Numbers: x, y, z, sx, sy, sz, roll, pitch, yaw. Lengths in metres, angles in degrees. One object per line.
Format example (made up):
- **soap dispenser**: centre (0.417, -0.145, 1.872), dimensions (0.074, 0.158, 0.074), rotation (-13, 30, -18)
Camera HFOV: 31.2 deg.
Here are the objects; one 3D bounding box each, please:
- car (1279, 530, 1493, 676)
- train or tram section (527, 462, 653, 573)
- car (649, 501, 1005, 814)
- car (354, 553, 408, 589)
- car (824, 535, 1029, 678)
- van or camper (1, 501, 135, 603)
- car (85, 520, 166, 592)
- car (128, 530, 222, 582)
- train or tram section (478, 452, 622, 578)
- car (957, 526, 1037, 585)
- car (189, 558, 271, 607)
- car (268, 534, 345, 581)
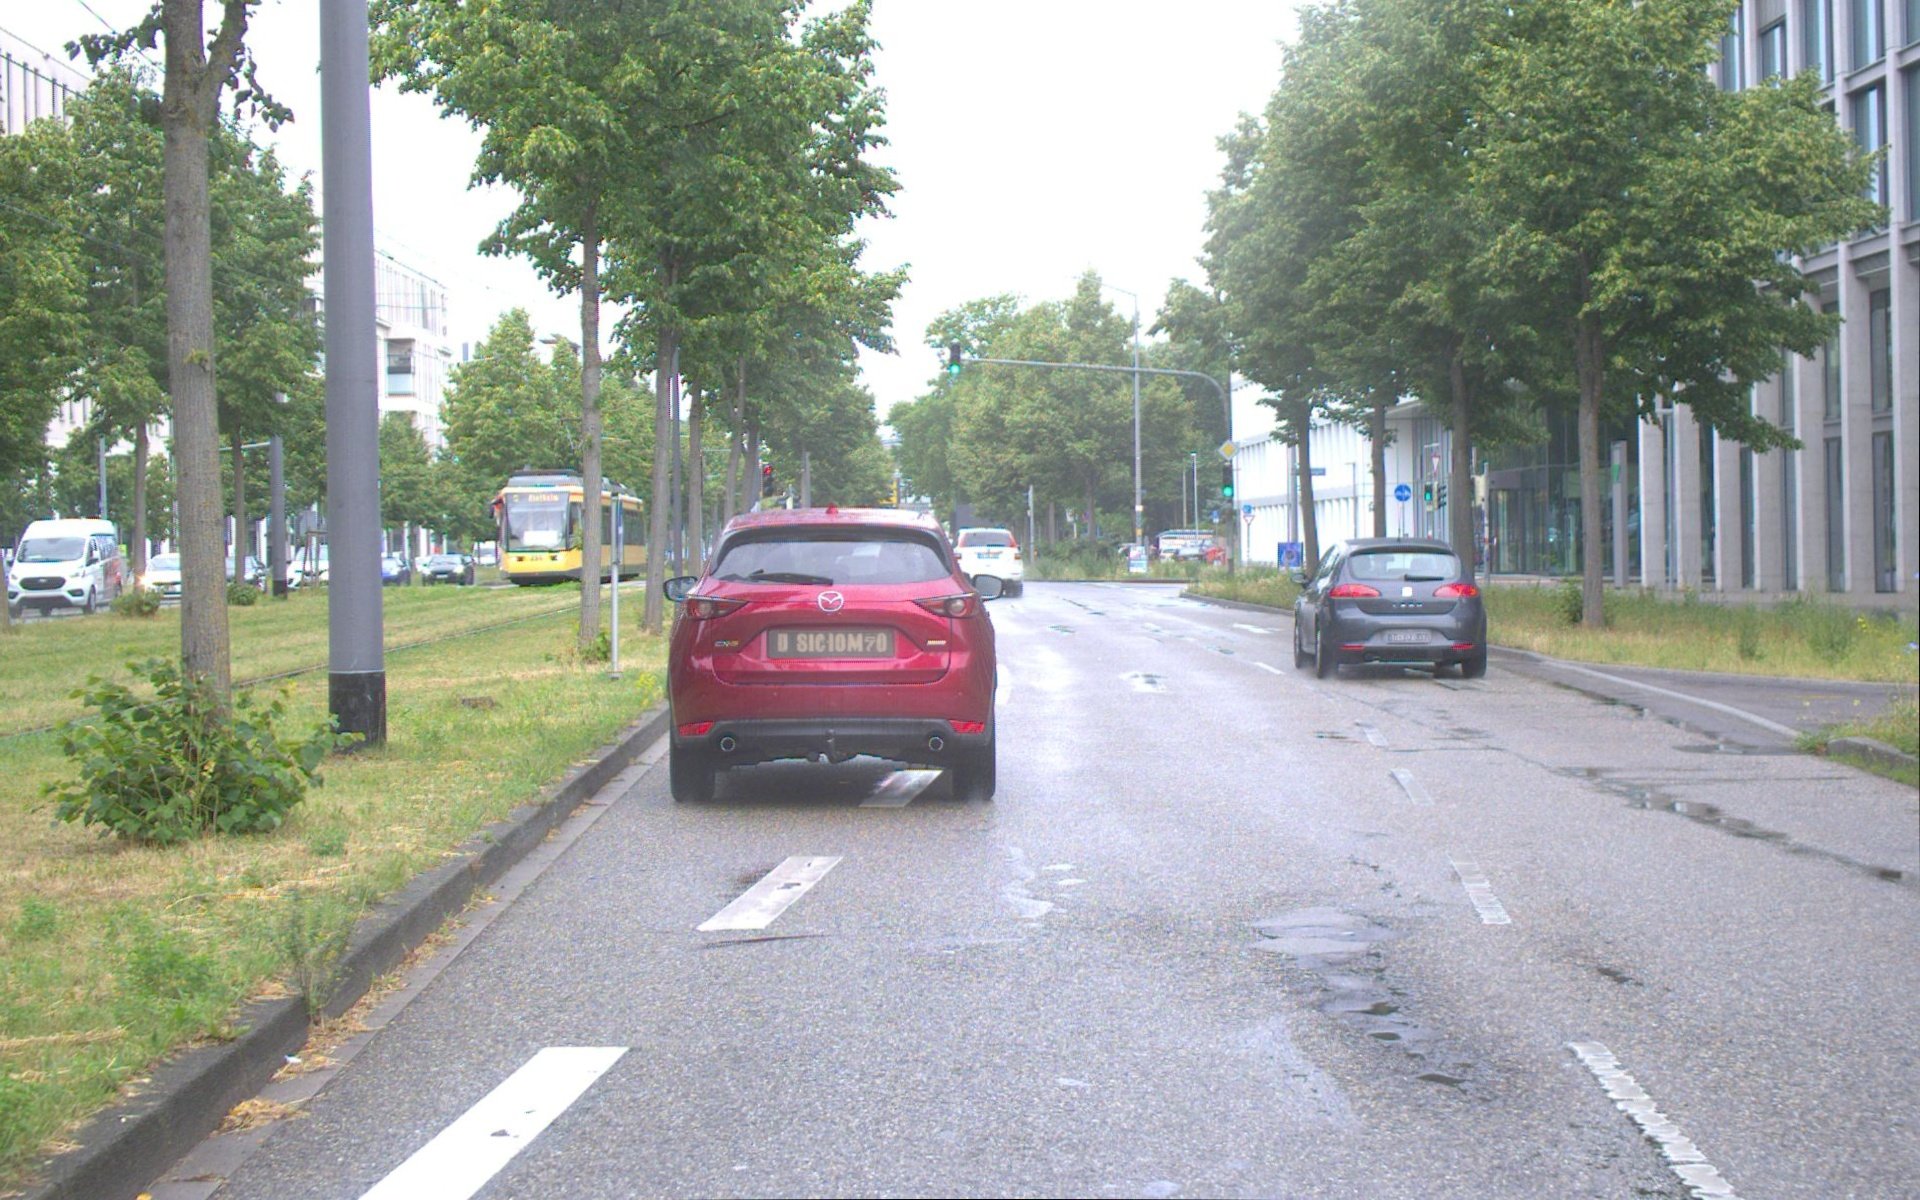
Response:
- **car**: centre (4.463, -0.002, 36.475), dimensions (1.743, 1.460, 3.782), rotation (0, 1, -1)
- **train or tram section**: centre (-12.923, -2.881, 121.268), dimensions (3.128, 3.646, 15.065), rotation (0, 1, -1)
- **car**: centre (-0.776, 0.271, 20.447), dimensions (1.898, 1.671, 4.000), rotation (0, 1, -2)
- **car**: centre (-26.666, -1.342, 158.453), dimensions (1.993, 1.612, 4.001), rotation (-1, 1, -3)
- **car**: centre (-0.309, 0.031, 37.270), dimensions (1.960, 1.460, 3.781), rotation (0, 1, 3)
- **van or camper**: centre (-21.706, -1.188, 83.825), dimensions (1.909, 2.402, 5.402), rotation (0, 1, -1)
- **car**: centre (-30.661, -1.633, 126.425), dimensions (2.255, 2.553, 4.656), rotation (0, 1, -5)
- **car**: centre (-22.923, -1.299, 100.498), dimensions (1.884, 1.454, 4.000), rotation (0, 1, -1)
- **train or tram section**: centre (-12.617, -2.615, 107.019), dimensions (3.128, 3.646, 13.408), rotation (0, 1, -1)
- **car**: centre (0.919, -1.127, 86.238), dimensions (1.967, 1.432, 4.553), rotation (0, 1, 0)
- **car**: centre (-24.466, -0.600, 115.353), dimensions (1.884, 1.454, 4.000), rotation (4, 1, -1)
- **car**: centre (-20.490, -1.343, 107.873), dimensions (1.710, 1.399, 4.000), rotation (-1, 1, -1)
